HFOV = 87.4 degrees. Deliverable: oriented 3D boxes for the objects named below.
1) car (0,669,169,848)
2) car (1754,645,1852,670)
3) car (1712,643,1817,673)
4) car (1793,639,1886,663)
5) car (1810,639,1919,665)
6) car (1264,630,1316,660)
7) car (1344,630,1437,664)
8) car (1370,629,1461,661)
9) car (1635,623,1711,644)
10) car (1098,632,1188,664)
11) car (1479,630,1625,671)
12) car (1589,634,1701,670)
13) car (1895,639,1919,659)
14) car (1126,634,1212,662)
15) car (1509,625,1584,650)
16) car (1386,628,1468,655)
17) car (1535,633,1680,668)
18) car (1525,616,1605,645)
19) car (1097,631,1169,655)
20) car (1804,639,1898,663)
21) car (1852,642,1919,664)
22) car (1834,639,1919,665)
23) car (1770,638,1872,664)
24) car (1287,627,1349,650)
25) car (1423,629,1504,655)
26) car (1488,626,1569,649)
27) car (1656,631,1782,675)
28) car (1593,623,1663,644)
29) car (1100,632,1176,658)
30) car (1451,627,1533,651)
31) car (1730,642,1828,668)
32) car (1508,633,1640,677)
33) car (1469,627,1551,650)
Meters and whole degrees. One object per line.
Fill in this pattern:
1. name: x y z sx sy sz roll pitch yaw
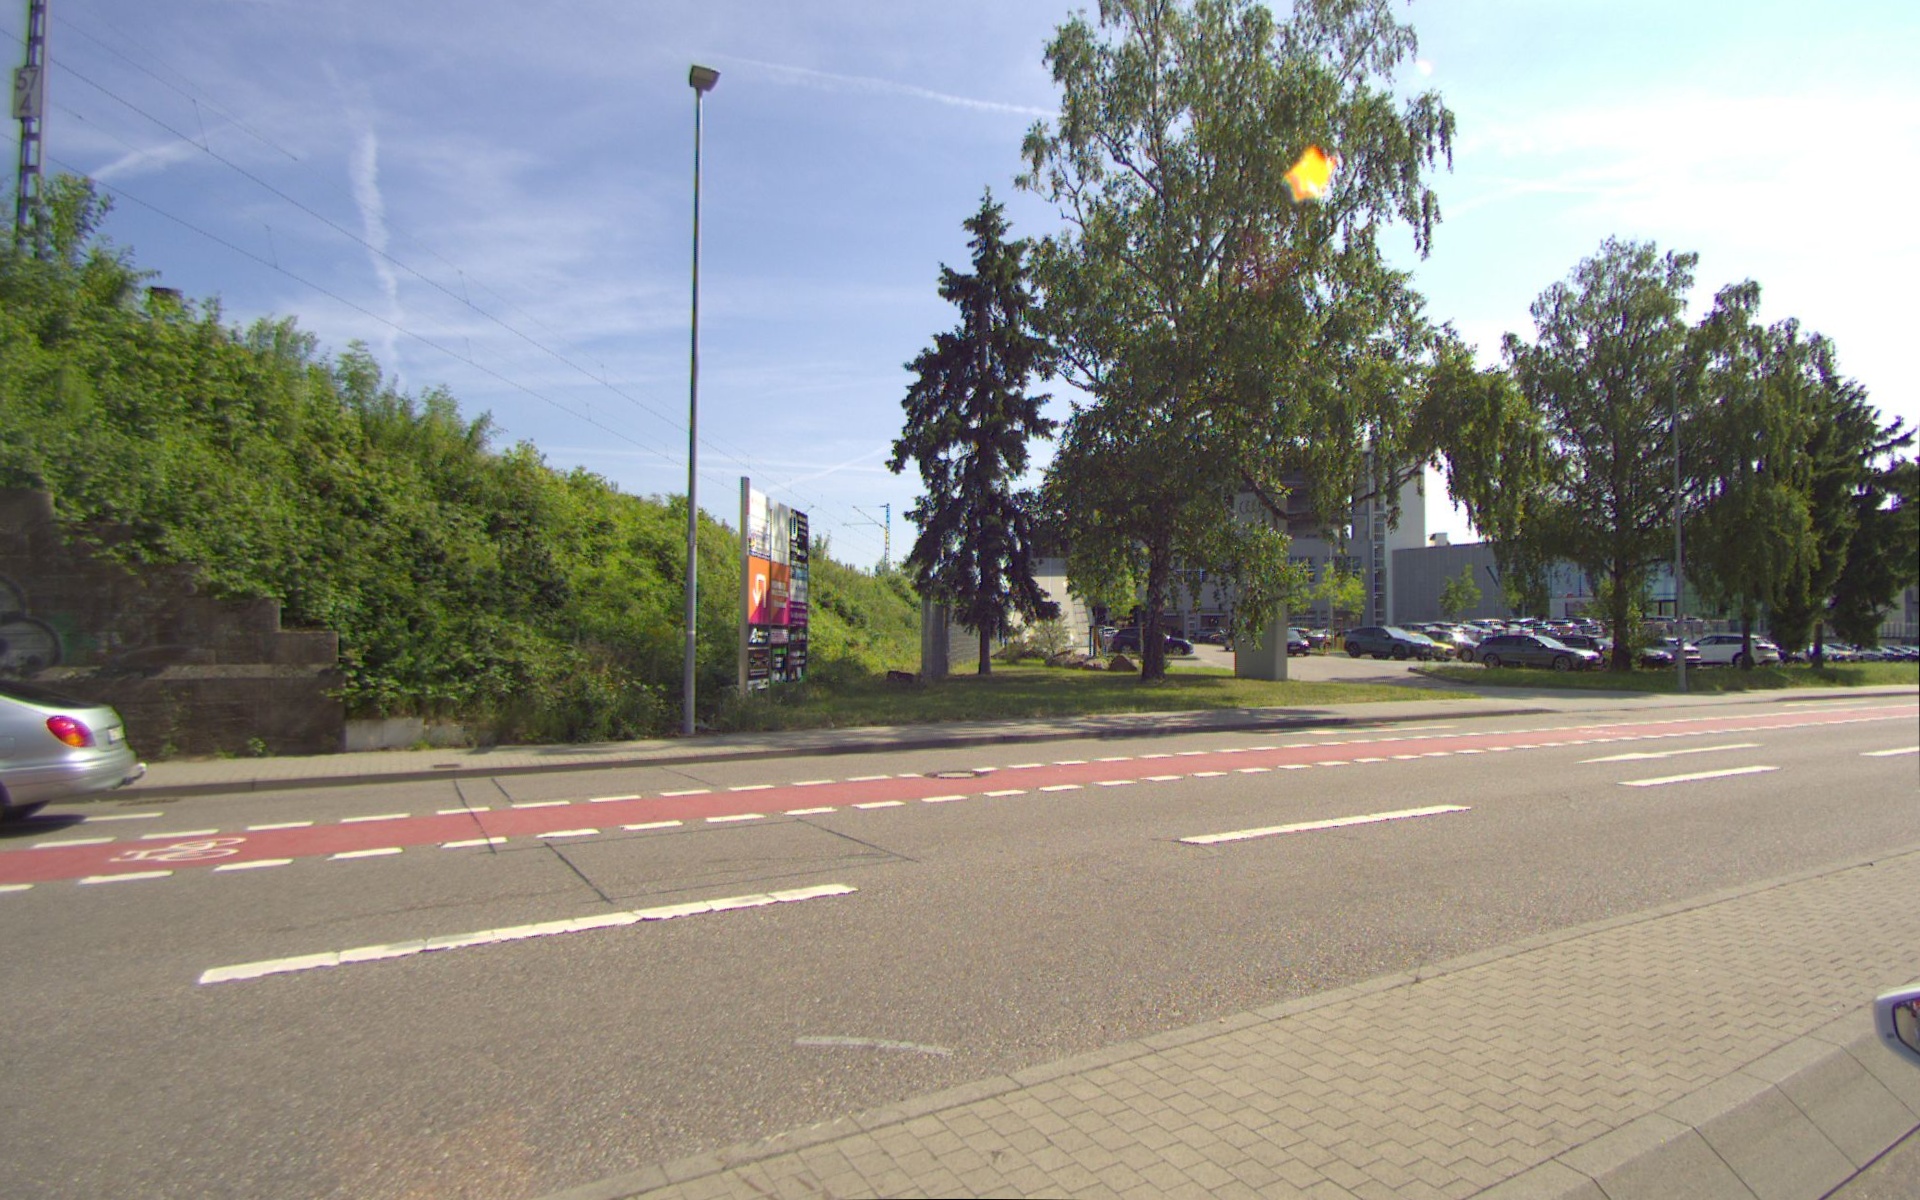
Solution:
1. car: -9.280 1.301 8.139 4.268 1.406 1.628 1 -3 -31
2. car: 45.391 3.115 54.160 1.645 1.302 3.723 1 -4 -32
3. car: 40.324 2.886 50.395 1.725 1.302 3.771 1 -1 -32
4. car: 49.785 2.915 56.904 1.844 1.302 3.576 1 -4 -32
5. car: 53.827 3.058 59.887 1.958 1.495 4.476 1 -3 -32
6. car: 18.490 2.483 56.432 1.628 1.567 4.036 1 -1 0
7. car: 22.418 2.414 52.405 1.785 1.585 4.220 1 -1 -31
8. car: 24.352 2.373 53.845 1.785 1.585 4.220 1 -1 -31
9. car: 56.157 2.641 79.230 1.963 1.515 4.498 1 -1 -30
10. car: 10.053 2.651 55.429 4.666 1.639 2.001 1 -1 2
11. car: 23.409 1.965 39.918 1.977 1.408 4.664 1 -1 -30
12. car: 29.864 2.246 43.868 1.795 1.389 3.663 1 -1 -30
13. car: 64.098 3.207 65.357 1.898 1.307 4.476 1 -3 -32
14. car: 12.347 2.834 59.521 4.666 1.544 2.001 1 -1 2
15. car: 40.760 2.623 69.862 1.646 1.727 4.246 1 -3 -32
16. car: 28.617 2.499 61.607 1.979 1.496 4.177 1 -1 -33
17. car: 27.386 2.115 42.676 1.977 1.285 4.828 1 -1 -30
18. car: 42.830 2.176 71.243 1.958 1.988 4.476 1 -3 -32
19. car: 11.801 2.935 68.687 4.666 1.567 1.815 1 -1 2
20. car: 51.691 2.973 58.330 1.963 1.302 3.661 1 -4 -32
21. car: 59.197 3.314 63.005 1.898 1.307 4.476 1 -3 -32
22. car: 56.410 3.137 61.131 1.898 1.495 4.476 1 -3 -32
23. car: 47.545 2.853 55.548 1.820 1.357 3.868 1 -4 -32
24. car: 26.691 2.865 75.033 3.920 1.679 2.001 0 -2 1
25. car: 32.177 2.680 64.287 1.979 1.496 4.177 1 -1 -33
26. car: 38.825 2.583 68.728 1.958 1.504 4.476 1 -3 -32
27. car: 36.409 2.484 48.280 1.976 1.900 4.444 1 -1 -29
28. car: 50.623 2.505 76.201 2.028 1.515 3.968 1 -1 -30
29. car: 11.598 2.909 65.599 4.666 1.567 1.815 1 -1 2
30. car: 35.165 2.553 66.516 1.870 1.437 4.475 1 -1 -32
31. car: 42.762 2.893 52.486 1.725 1.302 3.576 1 -4 -32
32. car: 25.087 2.207 41.173 1.977 1.567 4.194 1 -1 -30
33. car: 36.996 2.582 67.625 1.958 1.504 4.476 1 -3 -32
